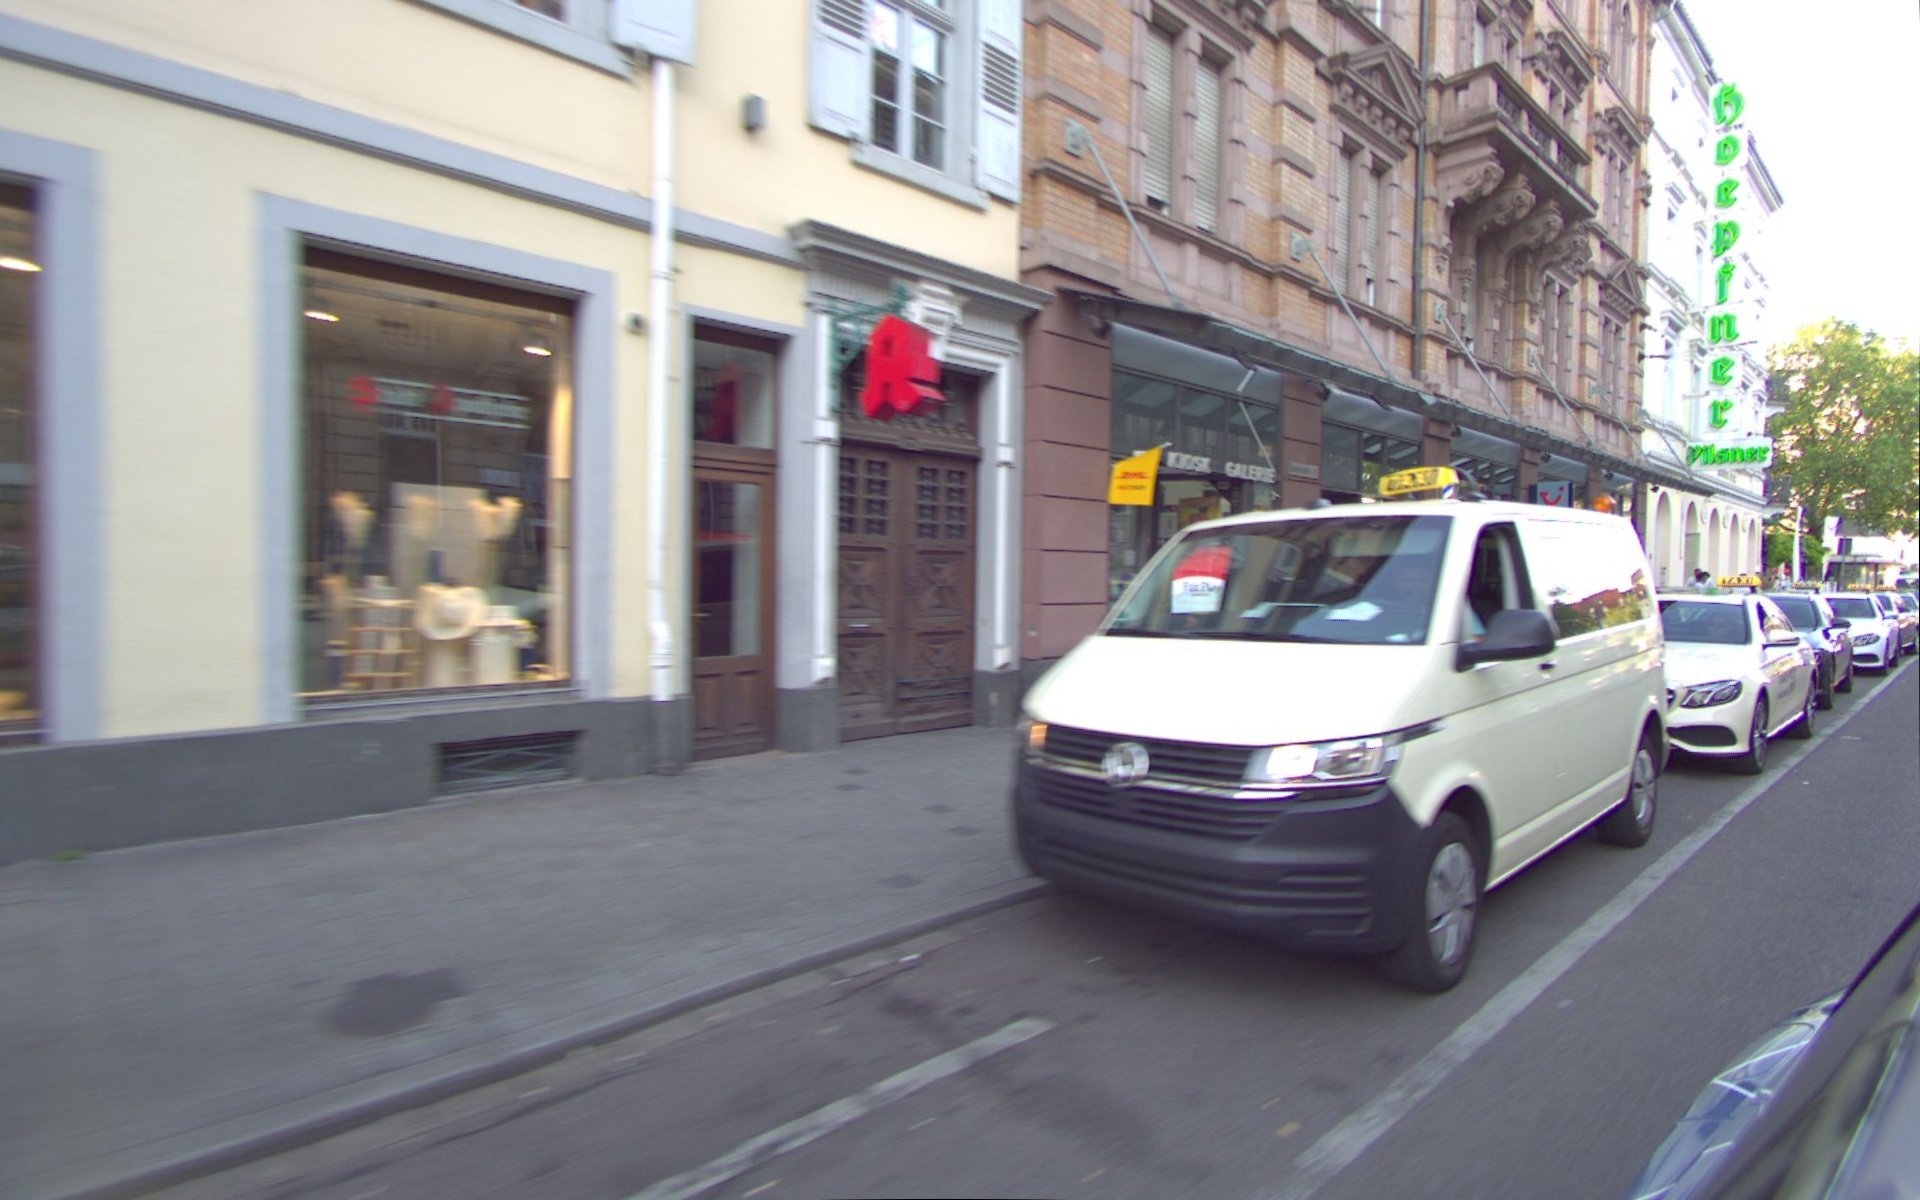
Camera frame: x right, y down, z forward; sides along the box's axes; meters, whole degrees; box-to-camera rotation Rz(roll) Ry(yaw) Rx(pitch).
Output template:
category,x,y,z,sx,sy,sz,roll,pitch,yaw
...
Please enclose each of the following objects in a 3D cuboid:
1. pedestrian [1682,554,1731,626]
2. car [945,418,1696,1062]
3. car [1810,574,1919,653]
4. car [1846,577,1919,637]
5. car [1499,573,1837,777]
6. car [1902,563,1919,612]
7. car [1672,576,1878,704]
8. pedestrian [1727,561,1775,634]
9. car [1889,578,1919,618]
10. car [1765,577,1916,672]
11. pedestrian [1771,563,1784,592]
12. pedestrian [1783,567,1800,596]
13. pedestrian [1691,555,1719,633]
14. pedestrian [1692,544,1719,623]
category,x,y,z,sx,sy,sz,roll,pitch,yaw
pedestrian,18.579,-0.256,25.177,0.542,1.709,0.761,-1,6,-44
car,2.253,0.377,5.360,4.623,1.947,1.878,-2,0,-44
car,21.043,0.256,23.176,4.365,1.610,1.735,-2,0,-41
car,25.814,0.144,27.828,4.616,1.494,1.807,-2,1,-44
car,6.989,0.542,9.752,4.699,1.502,1.807,-1,0,-44
car,43.221,-0.562,44.829,5.129,2.092,1.854,-2,3,-44
car,11.696,0.434,14.394,4.742,1.495,1.727,-2,1,-44
pedestrian,19.066,-0.063,24.406,0.476,1.709,0.622,1,5,-26
car,37.211,-0.073,39.035,4.473,1.407,1.699,-2,4,-44
car,16.650,0.372,19.044,4.786,1.530,1.733,-2,0,-44
pedestrian,44.958,-1.248,55.662,0.523,1.578,0.490,0,1,-43
pedestrian,37.587,-0.849,45.761,0.482,1.312,0.531,0,1,-43
pedestrian,17.564,-0.151,23.865,0.373,1.789,0.653,4,3,42
pedestrian,17.227,-0.390,23.385,0.373,1.789,0.449,4,3,43
